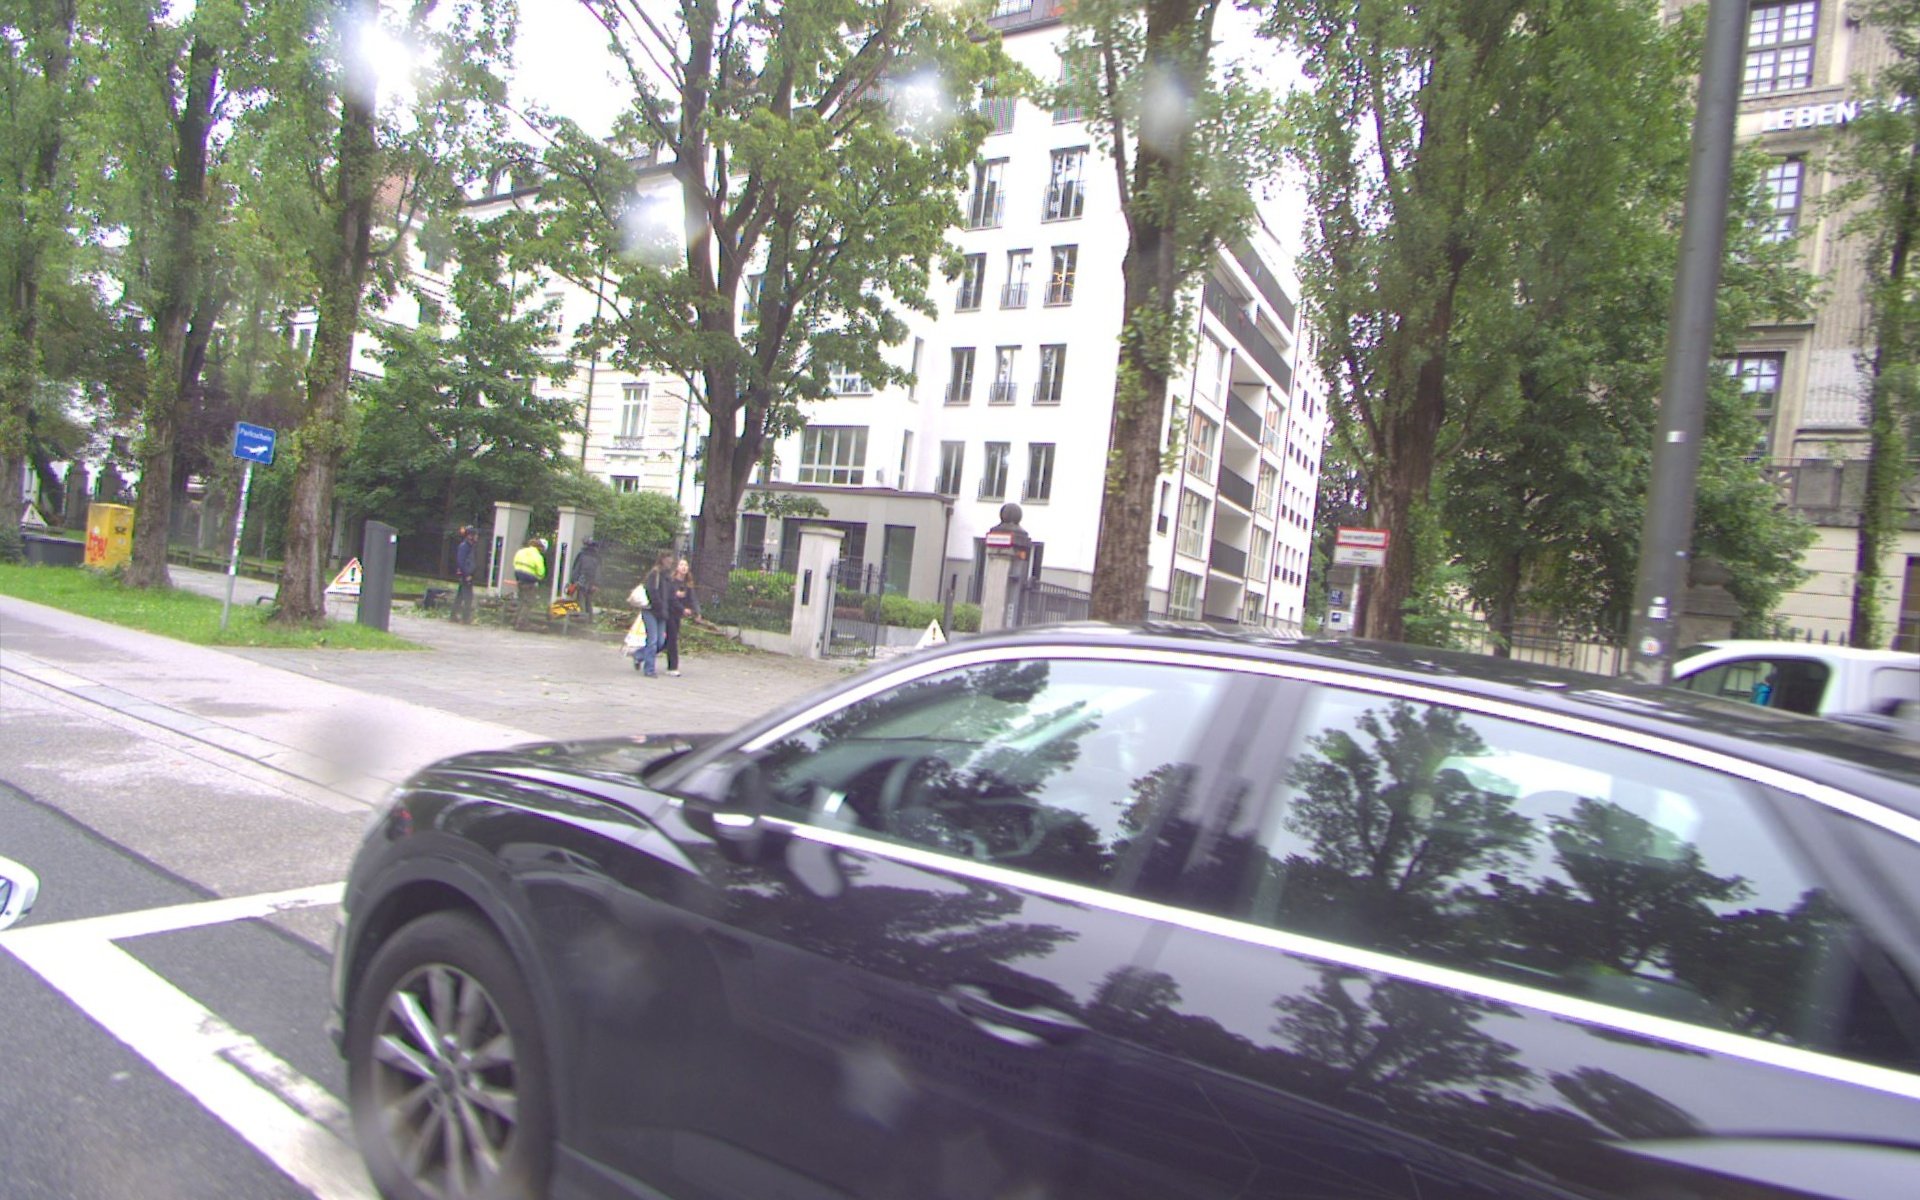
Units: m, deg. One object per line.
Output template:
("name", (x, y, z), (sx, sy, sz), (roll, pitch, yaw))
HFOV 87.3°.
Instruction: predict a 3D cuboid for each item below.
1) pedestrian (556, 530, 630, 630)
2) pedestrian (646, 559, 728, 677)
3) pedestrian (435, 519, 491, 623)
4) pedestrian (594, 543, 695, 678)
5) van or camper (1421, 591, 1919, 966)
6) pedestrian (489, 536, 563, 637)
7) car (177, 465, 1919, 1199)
("pedestrian", (-7.256, -0.386, 19.916), (0.814, 1.823, 0.904), (9, 2, 10))
("pedestrian", (-3.965, 0.267, 14.592), (0.853, 1.599, 0.568), (7, 1, 31))
("pedestrian", (-9.447, -0.545, 19.118), (0.626, 1.886, 0.488), (7, 1, 14))
("pedestrian", (-4.370, 0.149, 13.962), (0.853, 1.739, 0.854), (7, 2, 31))
("van or camper", (6.251, 1.268, 6.853), (5.279, 1.957, 2.079), (7, -1, 32))
("pedestrian", (-8.221, -0.246, 19.080), (0.805, 1.804, 0.802), (7, 1, 14))
("car", (0.439, 0.730, 2.163), (4.390, 1.560, 1.882), (7, 0, 32))
